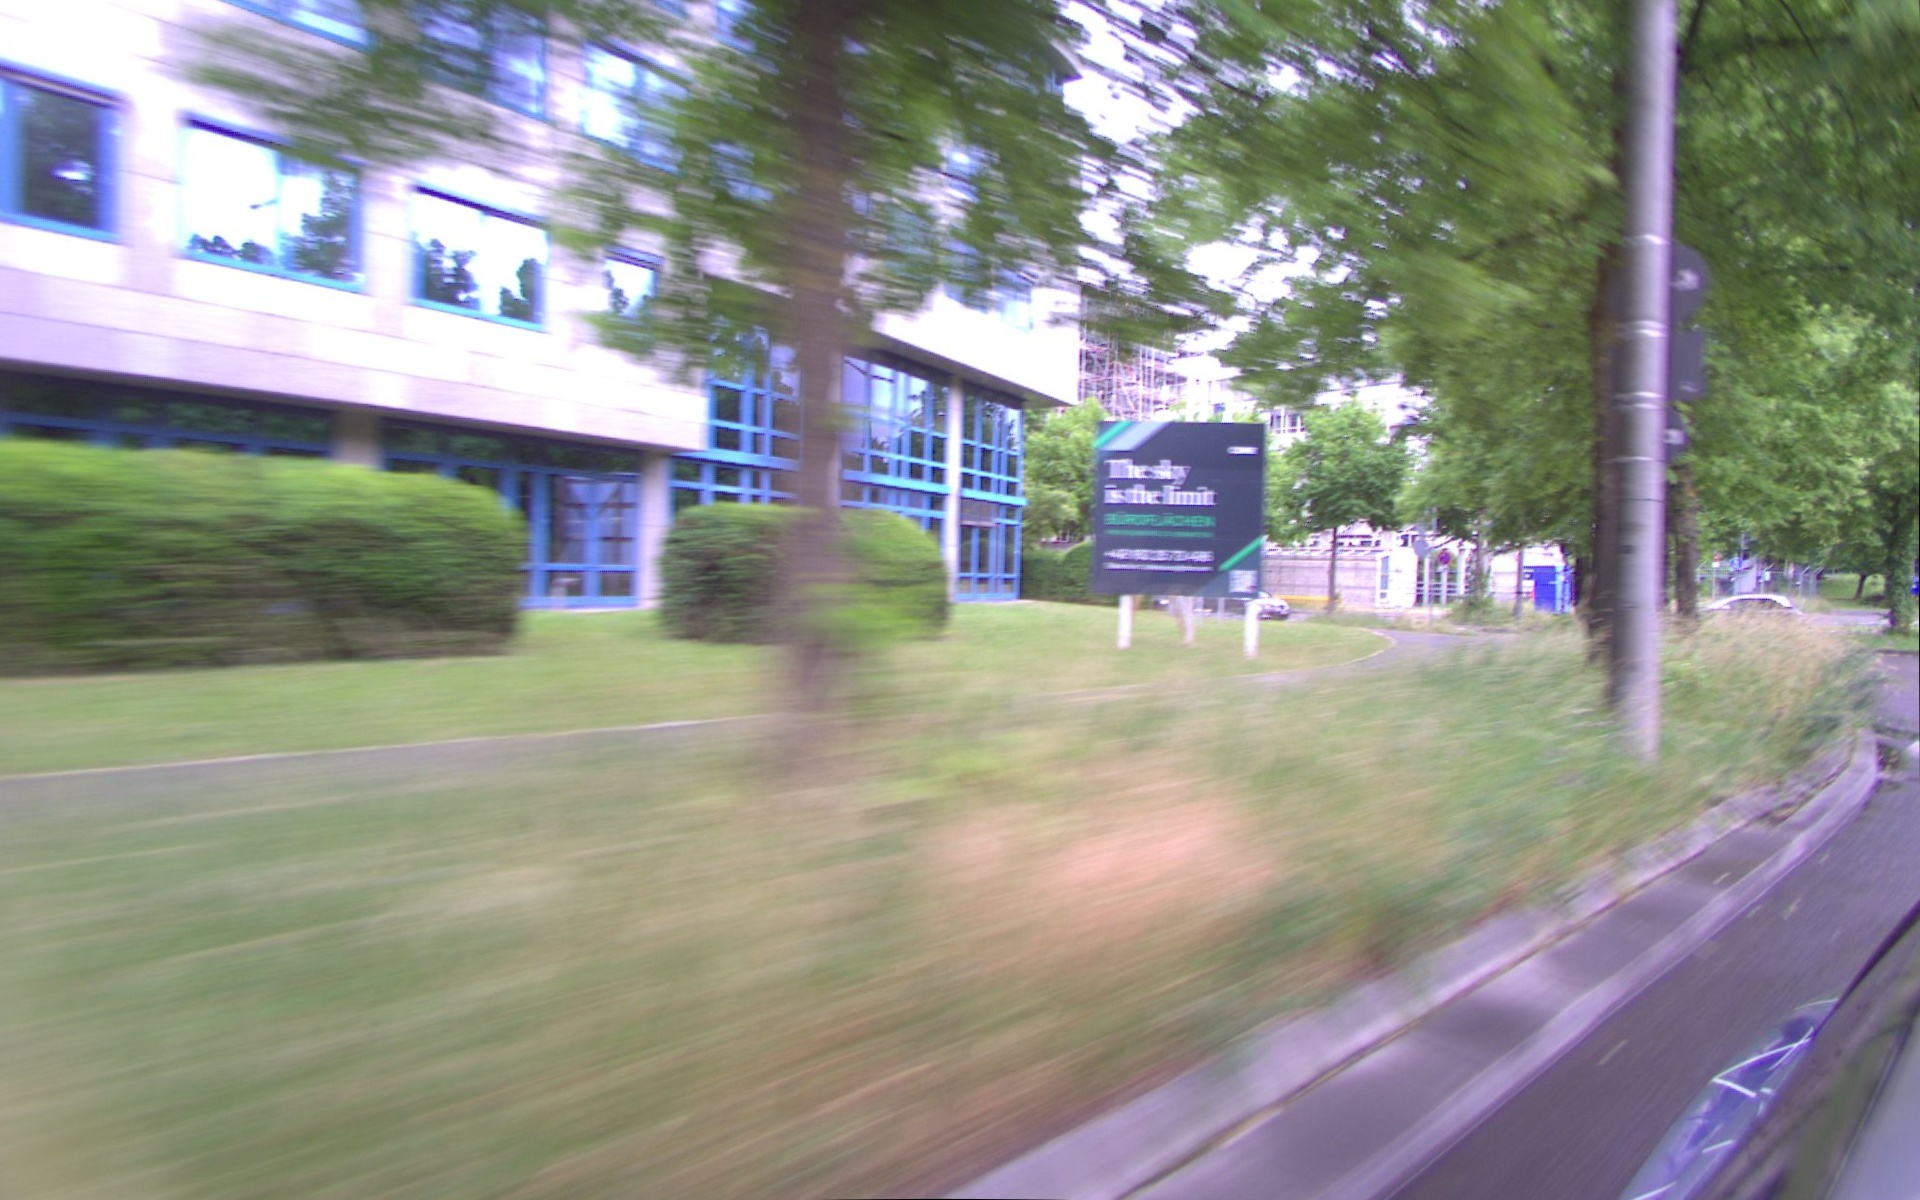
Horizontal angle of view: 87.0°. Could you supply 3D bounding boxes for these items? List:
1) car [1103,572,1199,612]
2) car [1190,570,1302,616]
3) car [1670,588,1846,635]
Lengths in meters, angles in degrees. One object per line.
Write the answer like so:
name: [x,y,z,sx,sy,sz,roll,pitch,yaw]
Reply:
car: [8.282,-0.369,44.141,1.723,1.598,4.113,2,0,-32]
car: [11.152,-0.303,39.704,1.723,1.662,4.113,2,0,-32]
car: [26.844,0.344,34.249,4.385,1.451,1.696,1,1,27]
